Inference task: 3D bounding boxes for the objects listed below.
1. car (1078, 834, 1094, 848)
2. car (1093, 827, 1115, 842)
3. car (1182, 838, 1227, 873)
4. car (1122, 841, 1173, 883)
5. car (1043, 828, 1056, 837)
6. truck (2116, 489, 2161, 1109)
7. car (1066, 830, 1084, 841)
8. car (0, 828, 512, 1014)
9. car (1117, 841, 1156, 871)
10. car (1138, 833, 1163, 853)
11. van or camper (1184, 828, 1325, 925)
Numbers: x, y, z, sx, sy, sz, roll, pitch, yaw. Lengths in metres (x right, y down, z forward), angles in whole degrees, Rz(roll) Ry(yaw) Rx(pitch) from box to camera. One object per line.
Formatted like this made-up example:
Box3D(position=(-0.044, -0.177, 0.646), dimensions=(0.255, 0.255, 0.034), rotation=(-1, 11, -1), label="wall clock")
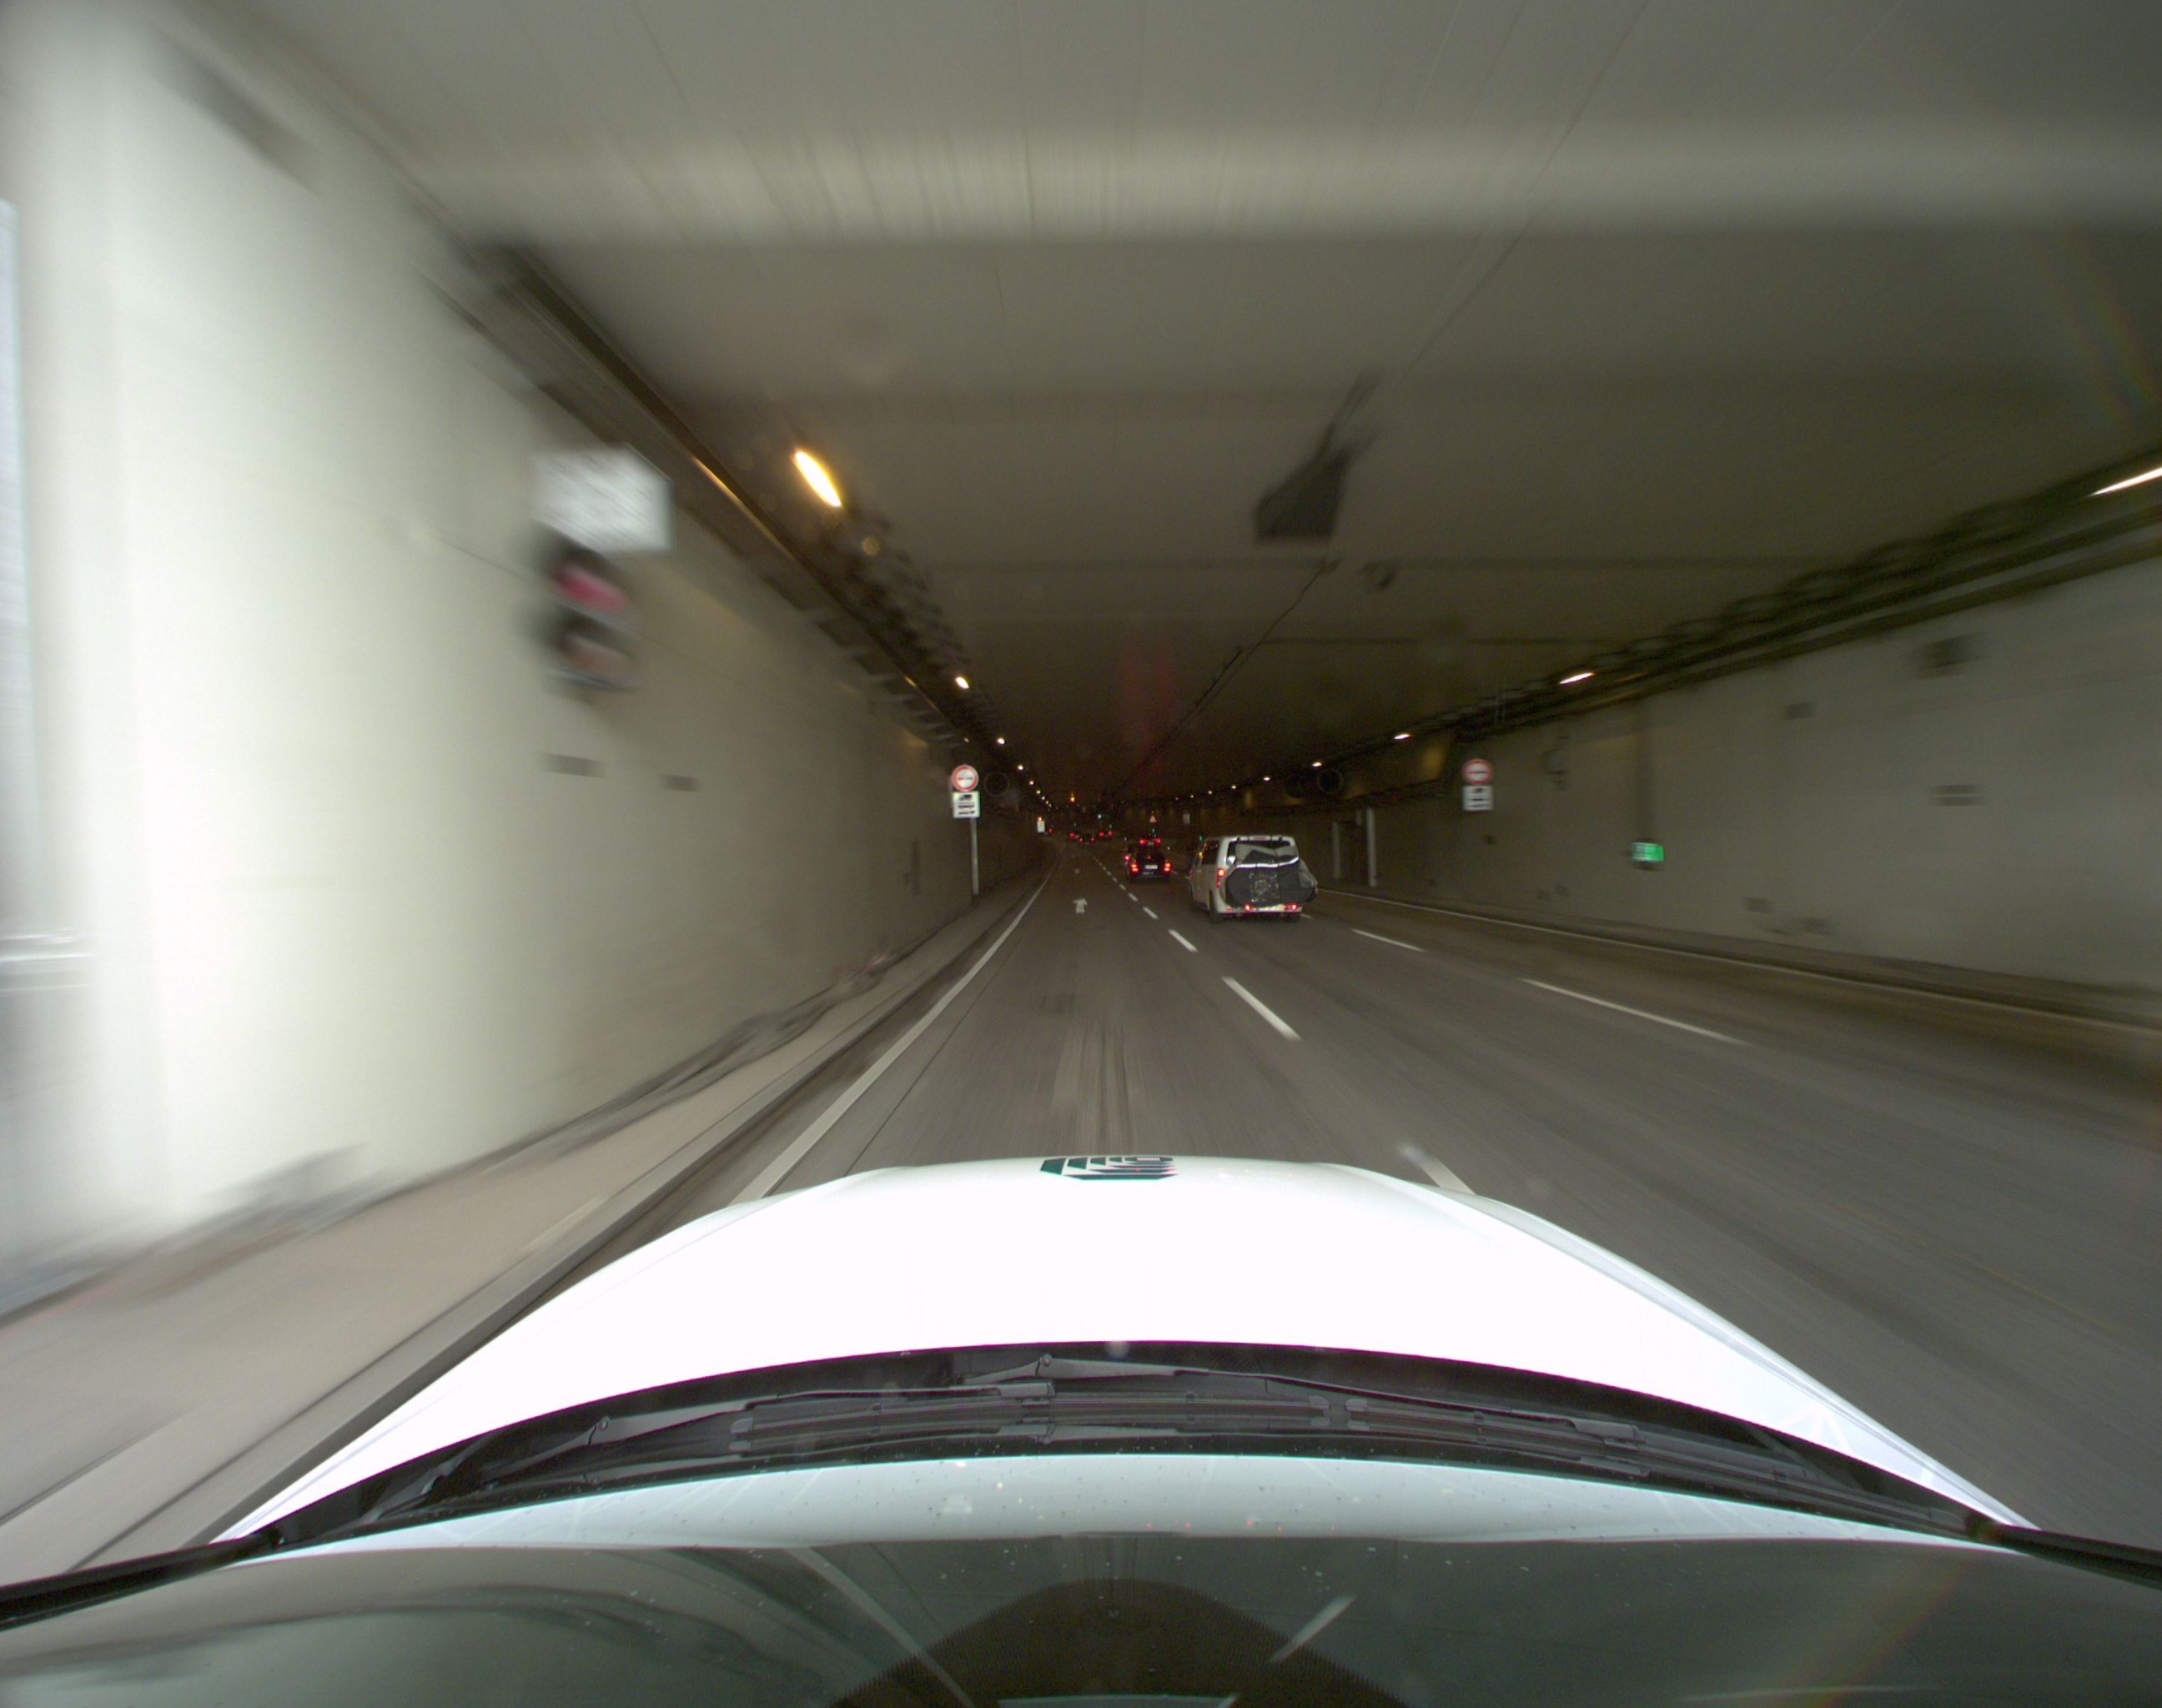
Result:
Box3D(position=(0.540, -1.372, 87.612), dimensions=(1.655, 1.488, 3.567), rotation=(-1, 0, 0), label="car")
Box3D(position=(2.899, -2.432, 102.116), dimensions=(1.989, 1.676, 4.495), rotation=(-1, 0, -9), label="car")
Box3D(position=(6.797, 0.033, 45.164), dimensions=(1.813, 1.749, 4.000), rotation=(2, 2, 0), label="car")
Box3D(position=(2.848, 0.311, 35.759), dimensions=(1.814, 1.683, 3.998), rotation=(0, 2, -2), label="car")
Box3D(position=(-4.974, -3.411, 128.826), dimensions=(1.509, 1.247, 3.554), rotation=(-3, 1, -11), label="car")
Box3D(position=(6.754, -0.226, 0.635), dimensions=(2.639, 3.184, 7.430), rotation=(-2, 1, 2), label="truck")
Box3D(position=(-0.765, -2.331, 104.147), dimensions=(1.664, 1.247, 3.555), rotation=(-1, 0, -10), label="car")
Box3D(position=(-9.376, 0.534, 9.684), dimensions=(1.802, 1.604, 4.787), rotation=(-2, 2, -1), label="car")
Box3D(position=(3.276, 0.090, 48.612), dimensions=(1.814, 1.580, 3.997), rotation=(2, 2, -3), label="car")
Box3D(position=(6.194, -1.026, 72.824), dimensions=(1.656, 1.633, 3.564), rotation=(2, 2, -3), label="car")
Box3D(position=(3.673, 0.419, 18.315), dimensions=(1.987, 1.845, 5.507), rotation=(0, 0, 0), label="van or camper")
